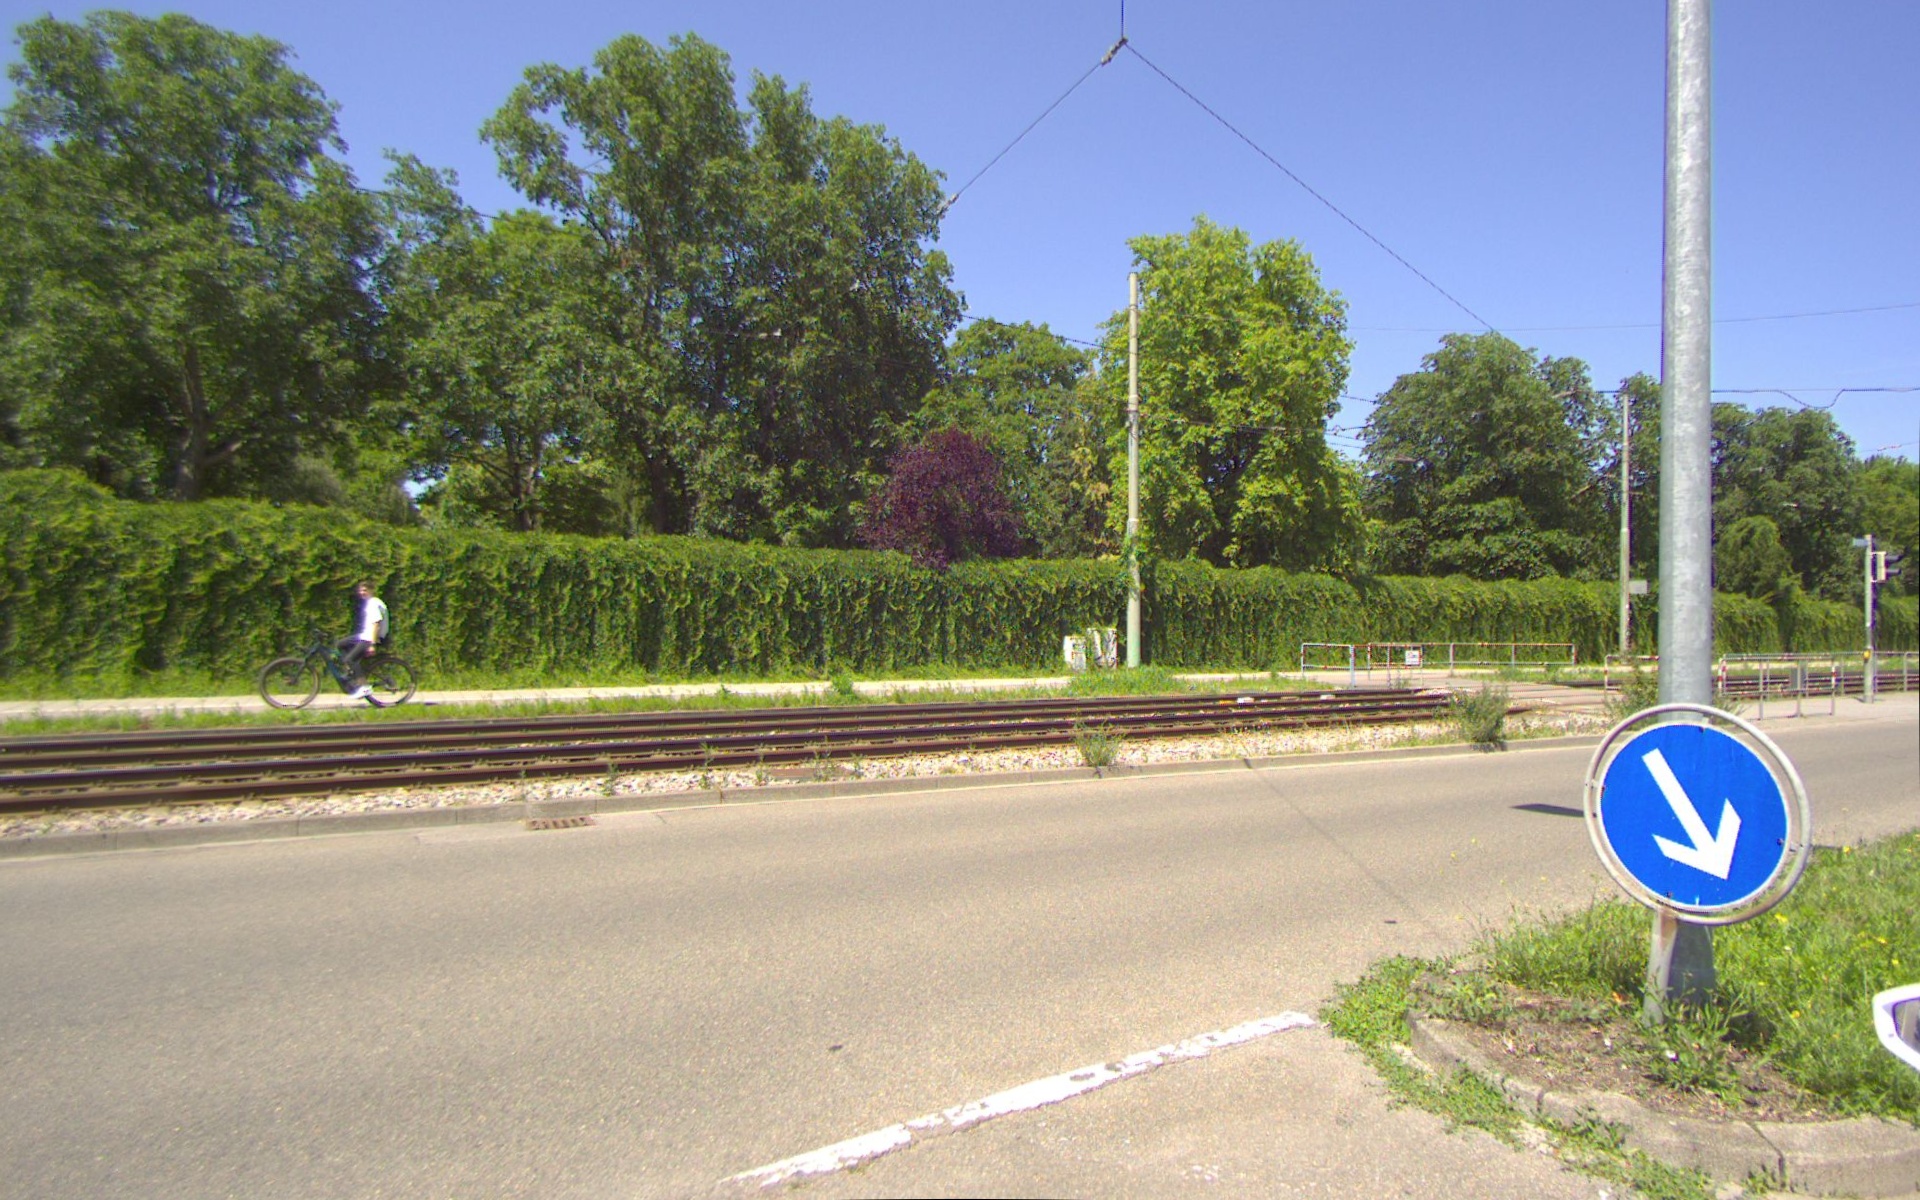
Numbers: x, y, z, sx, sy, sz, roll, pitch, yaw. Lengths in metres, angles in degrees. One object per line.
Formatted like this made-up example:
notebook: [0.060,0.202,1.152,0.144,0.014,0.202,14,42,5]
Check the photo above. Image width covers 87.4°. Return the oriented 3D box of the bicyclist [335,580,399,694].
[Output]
bicyclist: [-8.741,0.538,14.822,0.760,1.633,0.480,2,0,-30]

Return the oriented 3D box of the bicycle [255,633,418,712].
bicycle: [-9.045,1.036,14.664,1.955,1.069,0.613,2,0,-30]
